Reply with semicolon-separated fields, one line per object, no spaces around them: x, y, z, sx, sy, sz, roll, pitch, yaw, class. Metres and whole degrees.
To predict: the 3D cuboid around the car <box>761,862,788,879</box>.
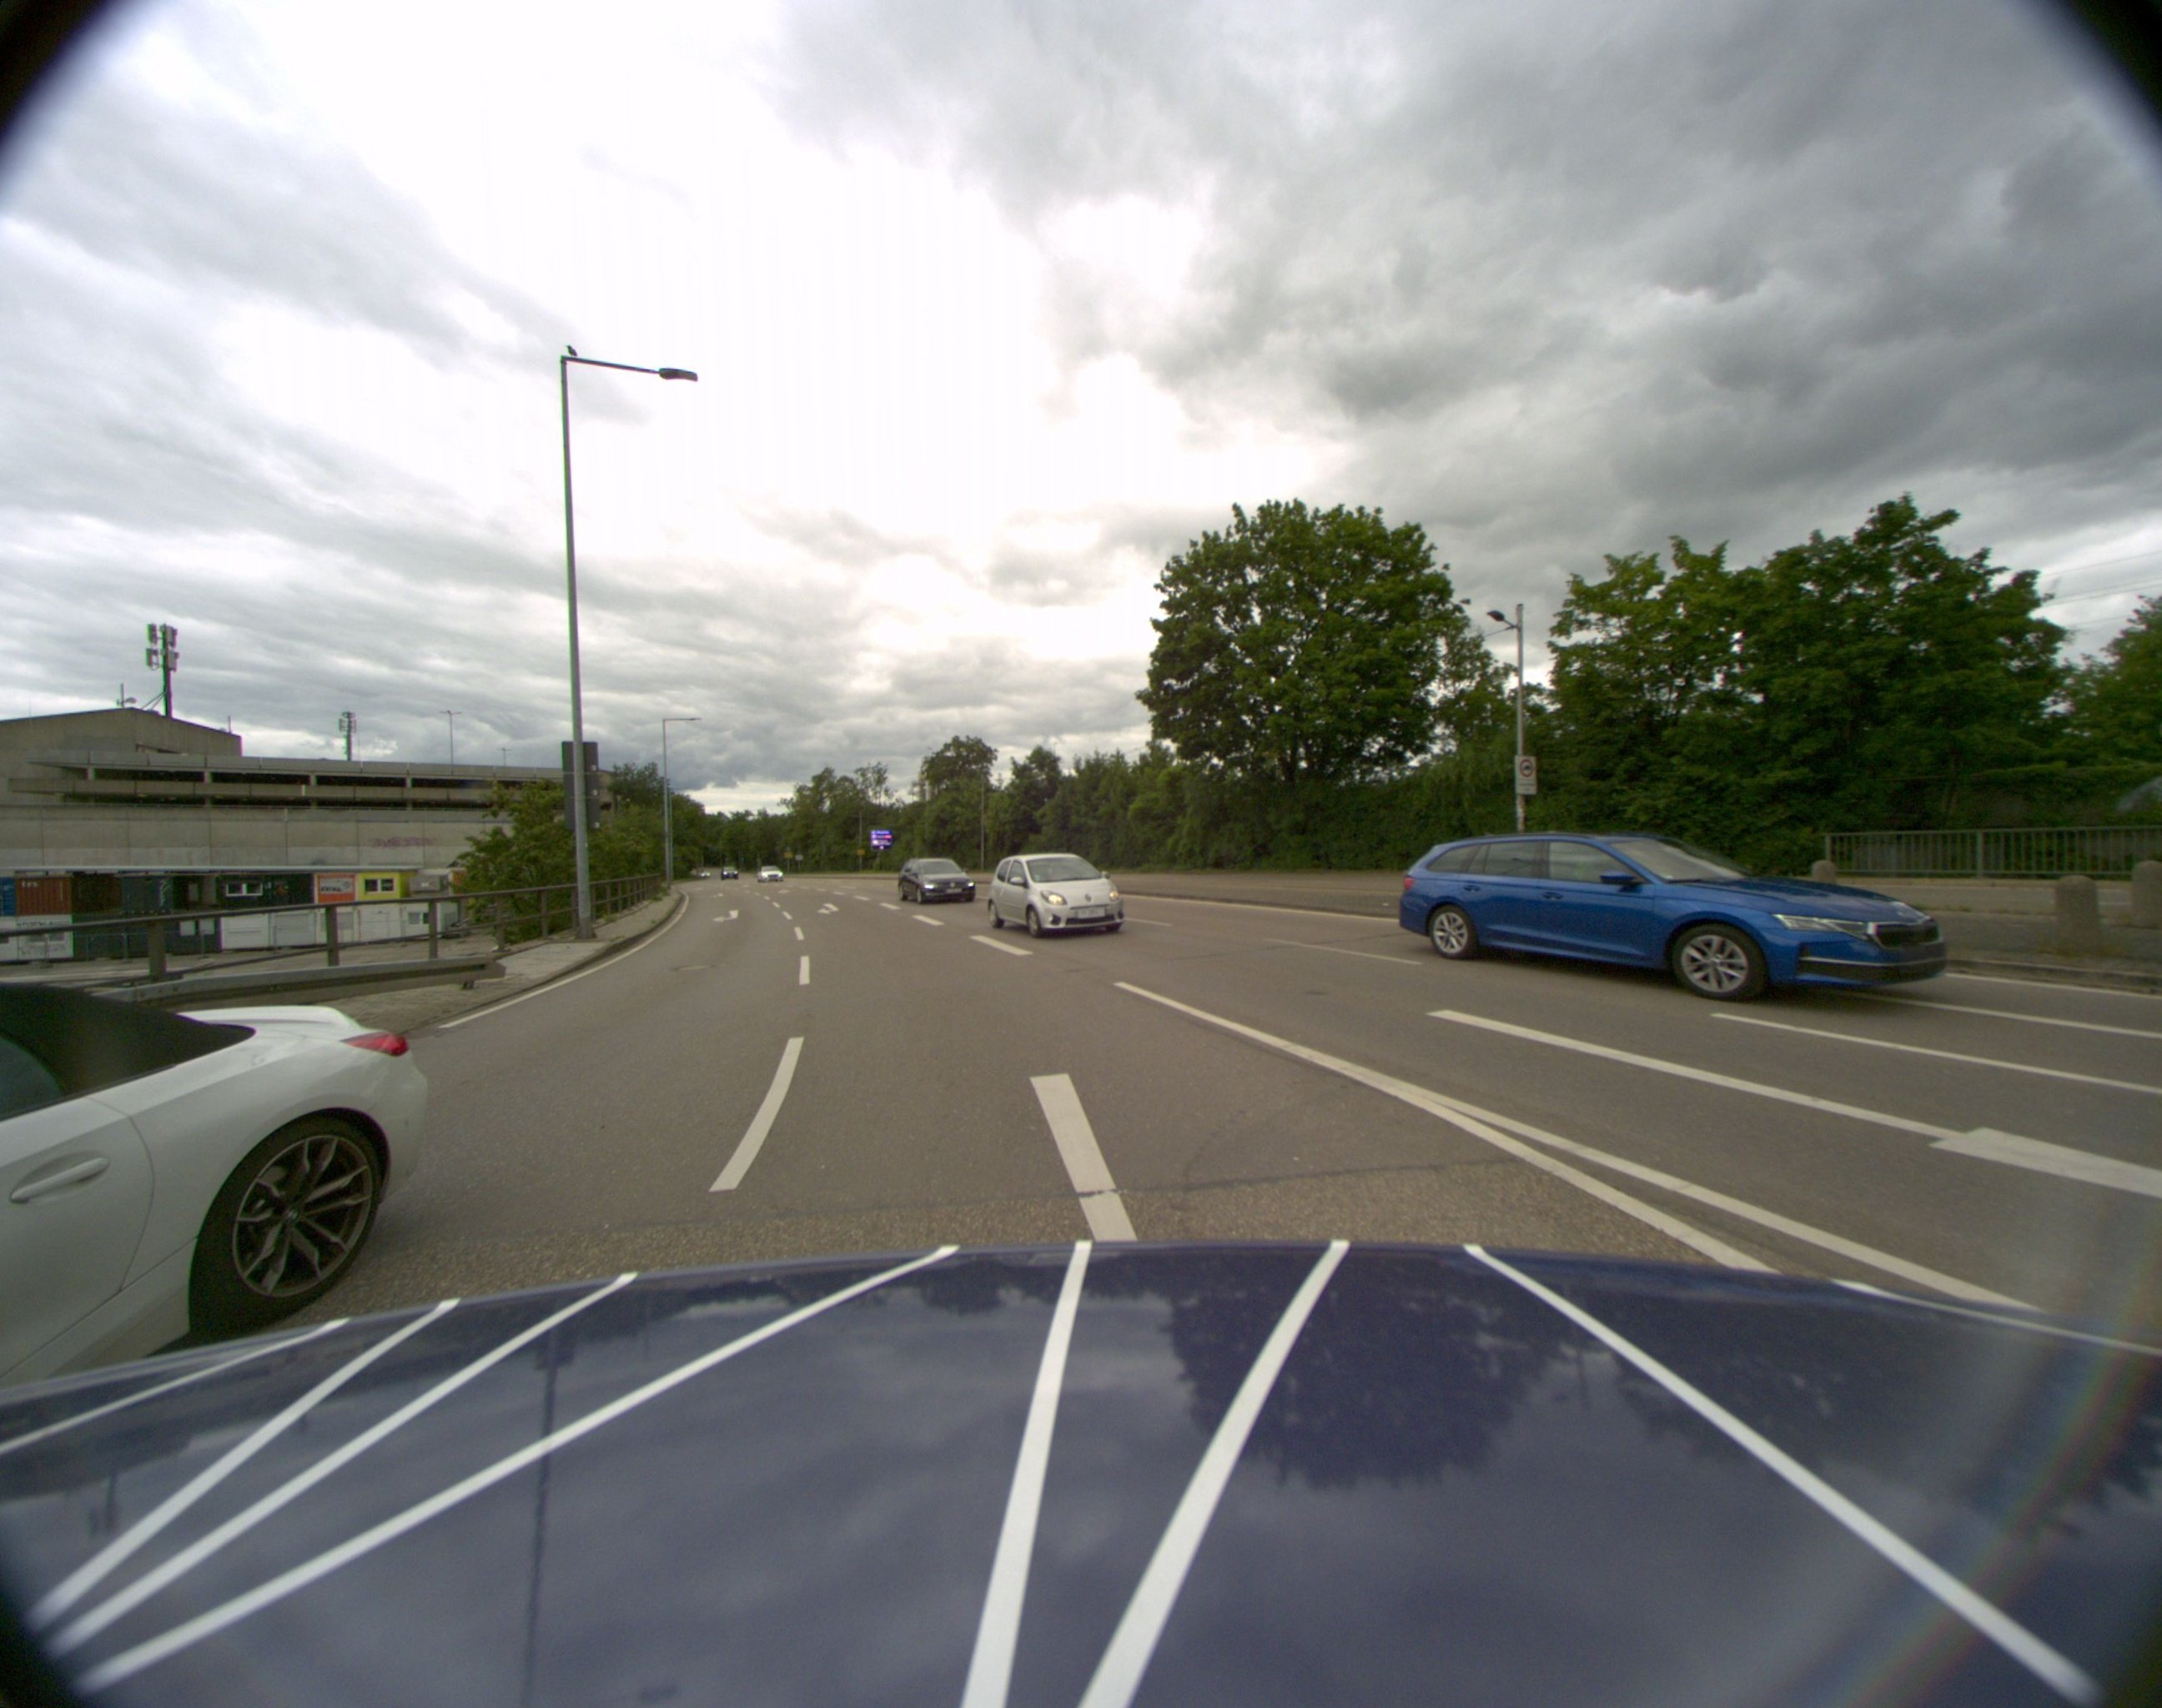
-28.237;1.503;69.952;1.868;1.408;4.329;-3;1;-27;car

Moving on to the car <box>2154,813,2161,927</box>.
15.599;0.144;8.046;1.958;1.449;4.611;-2;0;-25;car

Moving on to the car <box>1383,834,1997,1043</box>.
5.517;0.600;7.775;1.845;1.408;4.572;-3;1;-21;car

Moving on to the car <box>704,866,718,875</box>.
-76.619;3.376;157.302;2.003;1.696;3.991;-6;1;-33;car

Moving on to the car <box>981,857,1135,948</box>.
-0.564;0.806;14.276;1.612;1.408;3.584;-3;1;-23;car

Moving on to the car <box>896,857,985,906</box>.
-4.768;0.857;25.276;1.868;1.408;4.330;-3;1;-25;car

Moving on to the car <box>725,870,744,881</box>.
-46.501;2.854;101.883;1.868;1.408;4.329;-3;1;-29;car

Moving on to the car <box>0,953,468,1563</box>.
-3.553;1.156;1.232;1.810;1.284;4.261;-3;1;-4;car
